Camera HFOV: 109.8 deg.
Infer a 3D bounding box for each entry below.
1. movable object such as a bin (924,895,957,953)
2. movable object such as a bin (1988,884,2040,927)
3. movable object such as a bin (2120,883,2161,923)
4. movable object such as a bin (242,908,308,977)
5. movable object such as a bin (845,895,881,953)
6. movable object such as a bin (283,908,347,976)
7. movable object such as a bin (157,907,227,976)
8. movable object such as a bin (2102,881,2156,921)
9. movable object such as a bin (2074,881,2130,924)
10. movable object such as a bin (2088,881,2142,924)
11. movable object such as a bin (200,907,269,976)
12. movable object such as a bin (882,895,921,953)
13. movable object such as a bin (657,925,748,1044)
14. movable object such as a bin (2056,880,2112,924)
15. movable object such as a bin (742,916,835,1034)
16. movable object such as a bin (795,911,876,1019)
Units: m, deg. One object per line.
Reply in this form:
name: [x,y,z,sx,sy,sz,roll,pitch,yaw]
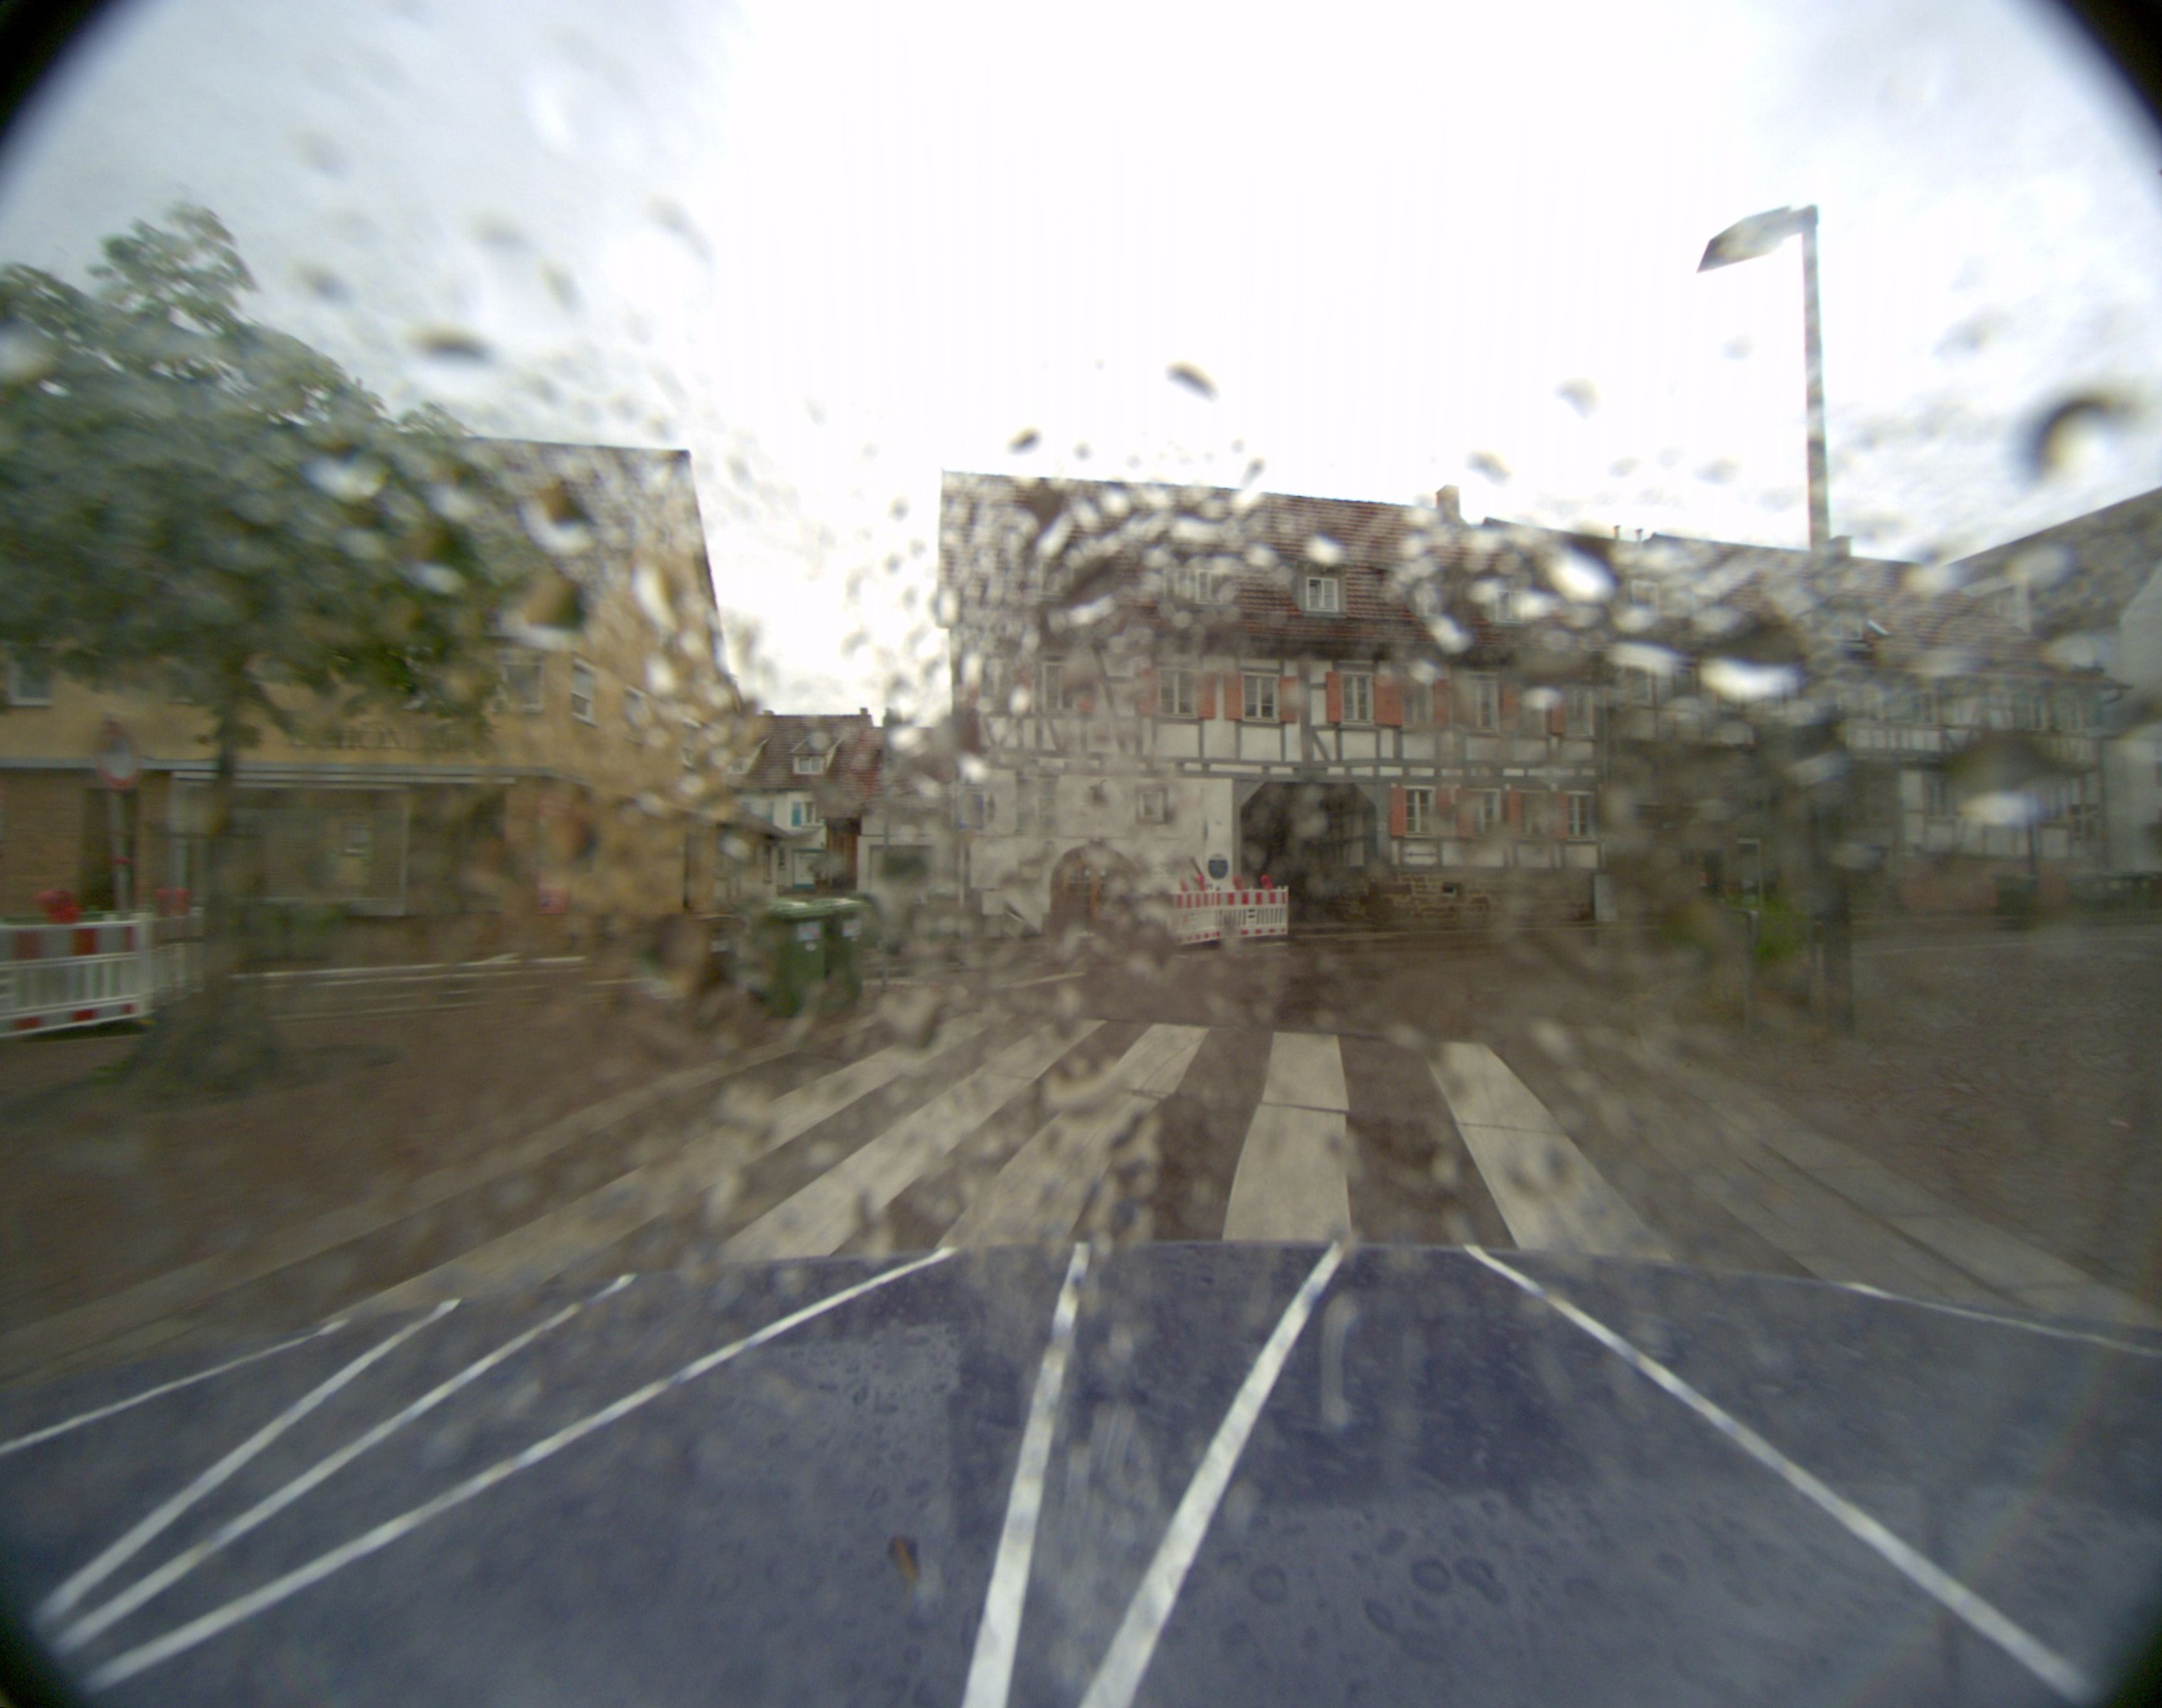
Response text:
movable object such as a bin: [-2.724,1.341,14.702,0.540,1.059,0.680,1,-1,-17]
movable object such as a bin: [24.763,1.356,20.171,0.599,1.120,0.611,-1,-3,-11]
movable object such as a bin: [30.010,1.378,21.363,0.651,1.089,0.680,0,-3,-15]
movable object such as a bin: [-13.883,1.510,13.099,0.580,1.122,0.517,1,1,-8]
movable object such as a bin: [-4.185,1.325,14.612,0.586,1.059,0.680,0,-1,-9]
movable object such as a bin: [-13.279,1.517,13.177,0.580,1.125,0.519,1,1,-8]
movable object such as a bin: [-15.117,1.475,12.933,0.580,1.122,0.517,1,1,-8]
movable object such as a bin: [29.063,1.292,21.086,0.588,1.074,0.671,-1,-1,-13]
movable object such as a bin: [27.774,1.319,20.687,0.603,1.139,0.640,-1,-3,-6]
movable object such as a bin: [28.395,1.330,20.871,0.632,1.139,0.639,-1,-3,-13]
movable object such as a bin: [-14.488,1.489,13.017,0.580,1.127,0.517,2,1,-8]
movable object such as a bin: [-3.432,1.337,14.585,0.539,1.059,0.618,-1,-1,5]
movable object such as a bin: [-3.518,1.190,7.076,0.566,0.998,0.512,-2,0,31]
movable object such as a bin: [27.110,1.295,20.544,0.580,1.139,0.640,-1,-3,-6]
movable object such as a bin: [-2.780,1.124,7.240,0.571,1.030,0.543,-2,-1,22]
movable object such as a bin: [-2.527,1.120,7.835,0.533,1.026,0.546,-2,0,22]
